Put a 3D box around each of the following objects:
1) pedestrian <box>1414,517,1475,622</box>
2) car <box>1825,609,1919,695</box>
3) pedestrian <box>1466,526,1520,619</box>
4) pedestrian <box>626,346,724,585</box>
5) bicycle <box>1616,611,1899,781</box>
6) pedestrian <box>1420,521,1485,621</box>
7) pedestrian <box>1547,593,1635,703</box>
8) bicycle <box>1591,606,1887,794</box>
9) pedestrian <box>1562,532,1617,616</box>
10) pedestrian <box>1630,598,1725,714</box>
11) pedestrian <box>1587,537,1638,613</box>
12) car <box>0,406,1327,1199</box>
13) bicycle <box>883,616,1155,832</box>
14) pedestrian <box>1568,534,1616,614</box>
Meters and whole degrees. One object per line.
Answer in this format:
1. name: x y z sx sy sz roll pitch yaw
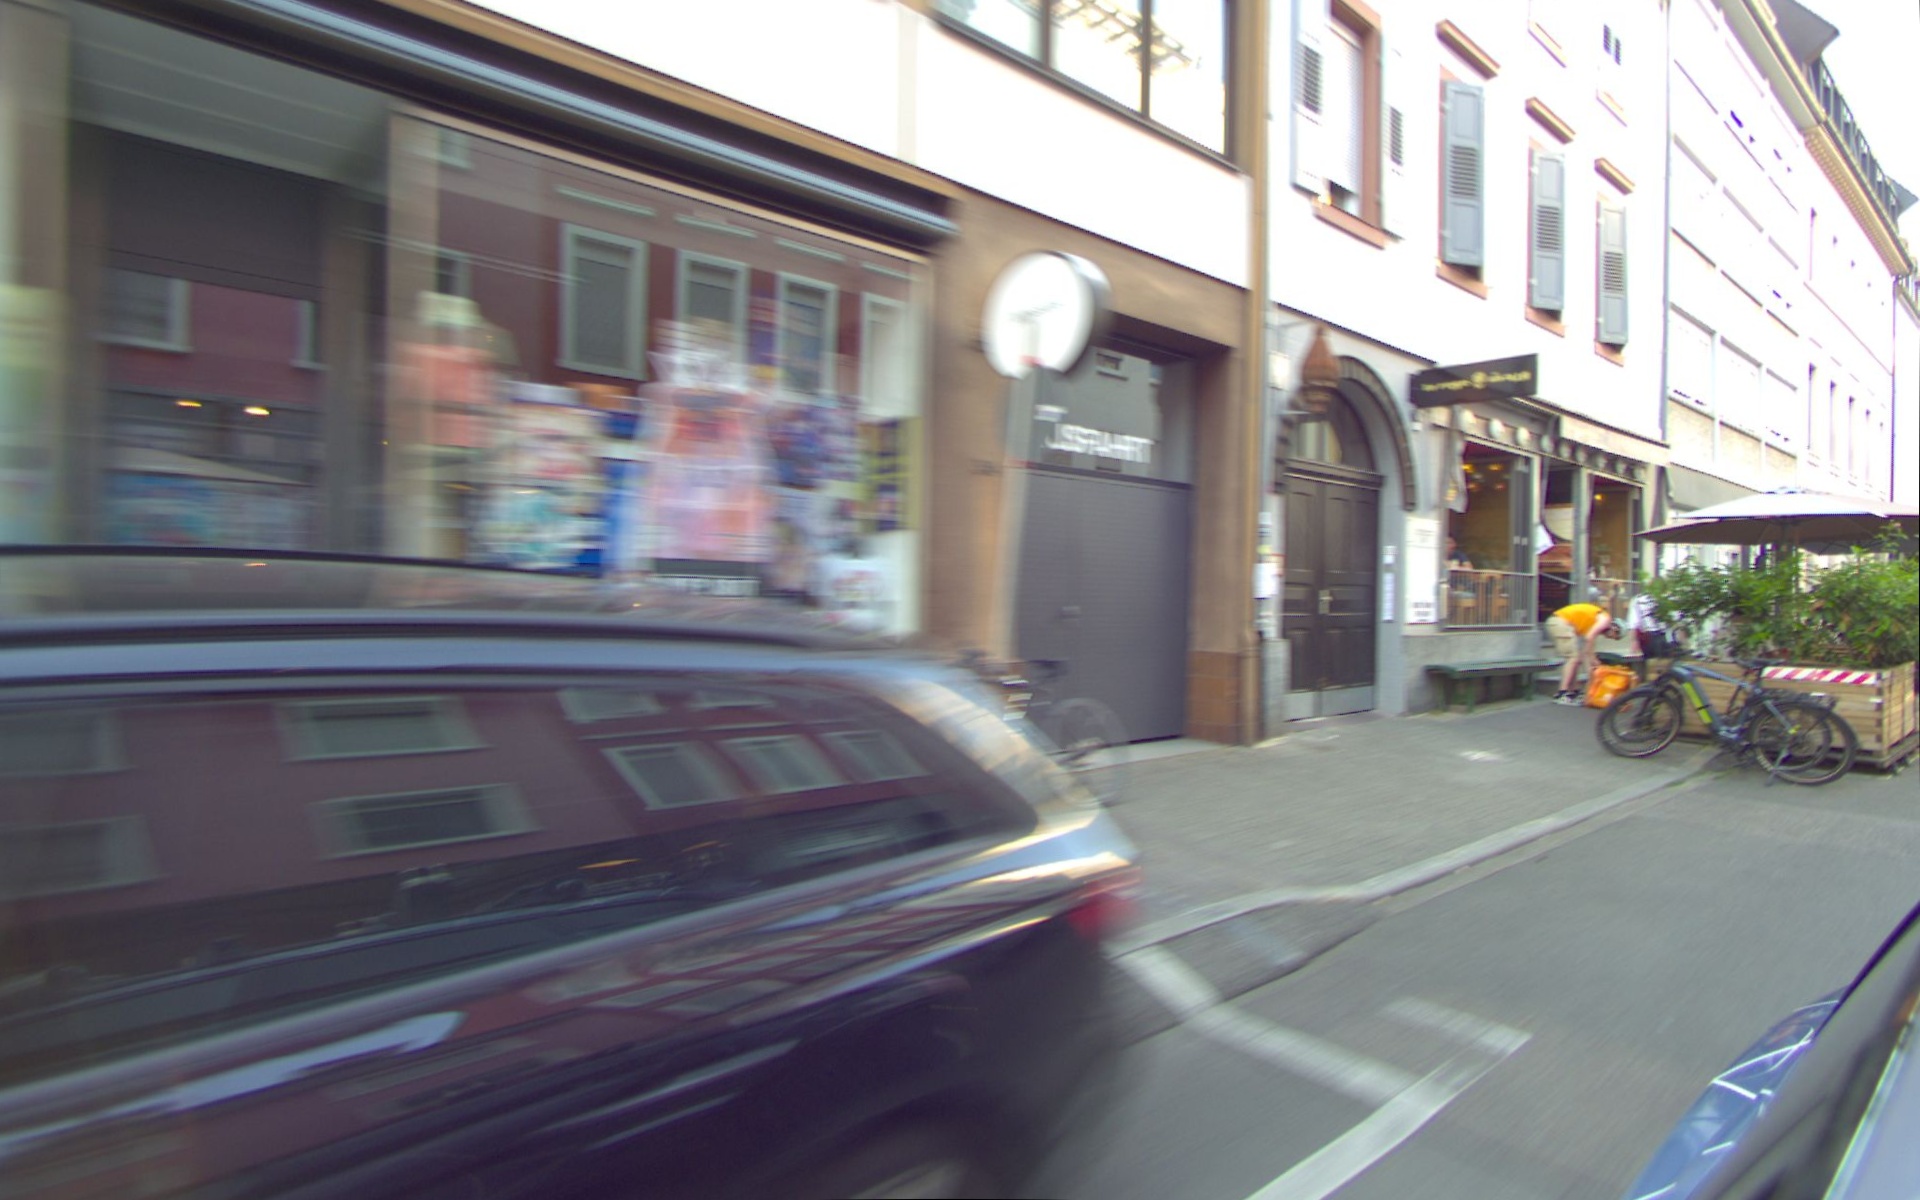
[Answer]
1. pedestrian: 6.011 -0.370 12.548 0.599 1.258 0.467 0 1 -41
2. car: 16.160 0.815 16.987 3.930 1.312 1.938 1 0 -41
3. pedestrian: 7.458 -0.381 14.159 0.599 1.258 0.467 0 1 -41
4. pedestrian: -1.724 -0.776 6.113 0.417 1.367 0.436 0 -1 -43
5. bicycle: 7.176 0.799 9.206 0.586 1.243 1.874 1 4 -40
6. pedestrian: 6.412 -0.374 13.179 0.599 1.258 0.566 0 1 -41
7. pedestrian: 7.602 0.555 12.193 0.635 1.258 0.736 0 1 -40
8. bicycle: 6.668 0.783 8.767 0.586 1.318 1.874 1 3 -40
9. pedestrian: 9.706 -0.396 15.603 0.599 1.258 0.566 0 1 -41
10. pedestrian: 8.137 0.612 11.482 0.634 1.259 0.736 0 -1 -39
11. pedestrian: 10.989 -0.416 17.044 0.599 1.258 0.566 0 1 -41
12. car: -1.577 0.600 1.303 4.903 1.536 1.693 1 0 -41
13. bicycle: 0.402 0.673 6.131 1.721 1.103 0.520 1 3 -41
14. pedestrian: 10.119 -0.419 16.213 0.560 1.258 0.467 1 1 21
